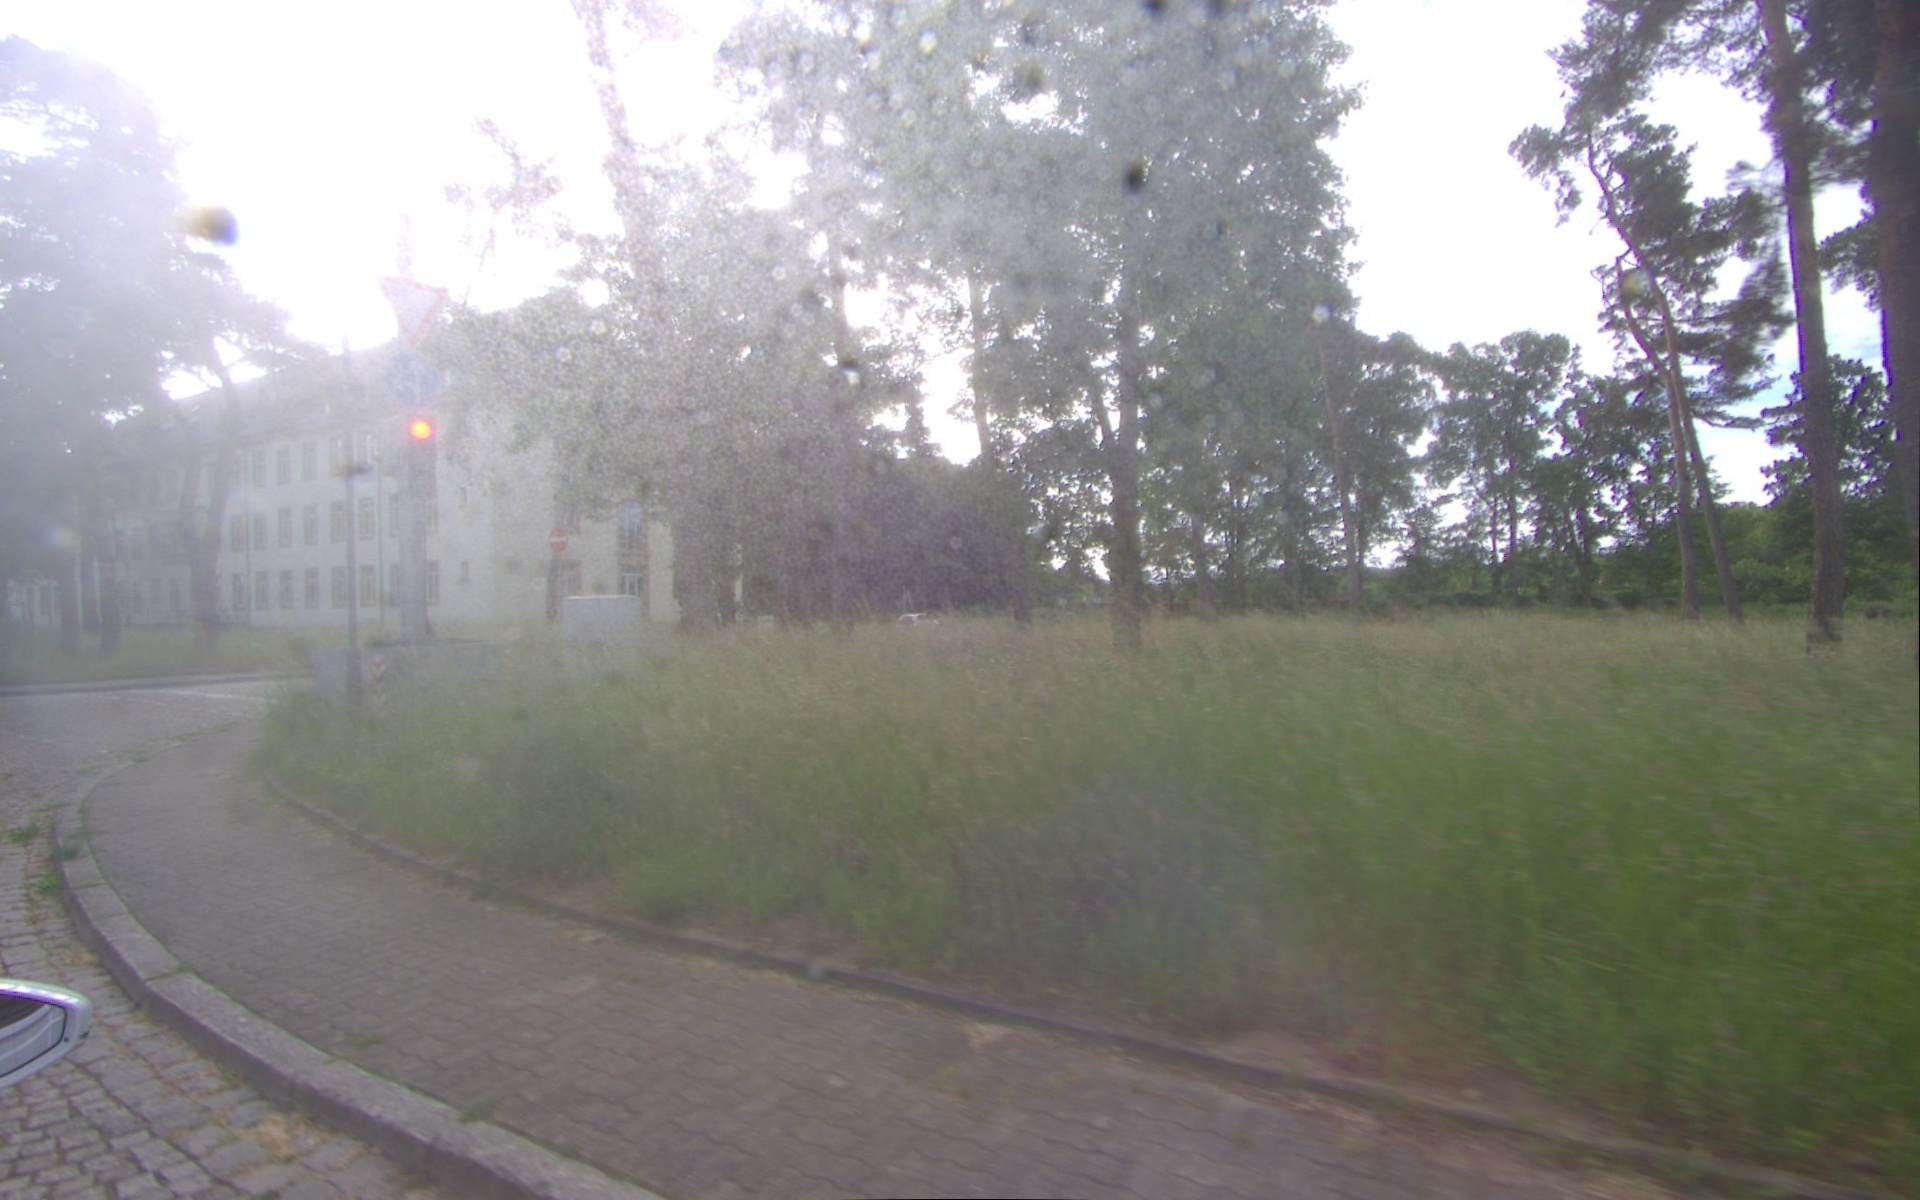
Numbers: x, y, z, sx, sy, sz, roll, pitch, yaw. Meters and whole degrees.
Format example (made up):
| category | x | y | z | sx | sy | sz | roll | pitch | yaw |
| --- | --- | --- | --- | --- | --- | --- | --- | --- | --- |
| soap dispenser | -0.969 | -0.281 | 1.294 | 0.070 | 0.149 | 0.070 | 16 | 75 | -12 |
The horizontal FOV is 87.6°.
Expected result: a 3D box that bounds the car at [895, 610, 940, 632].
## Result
| category | x | y | z | sx | sy | sz | roll | pitch | yaw |
| --- | --- | --- | --- | --- | --- | --- | --- | --- | --- |
| car | -2.878 | 1.475 | 68.391 | 1.467 | 1.455 | 3.179 | -1 | -2 | 33 |
